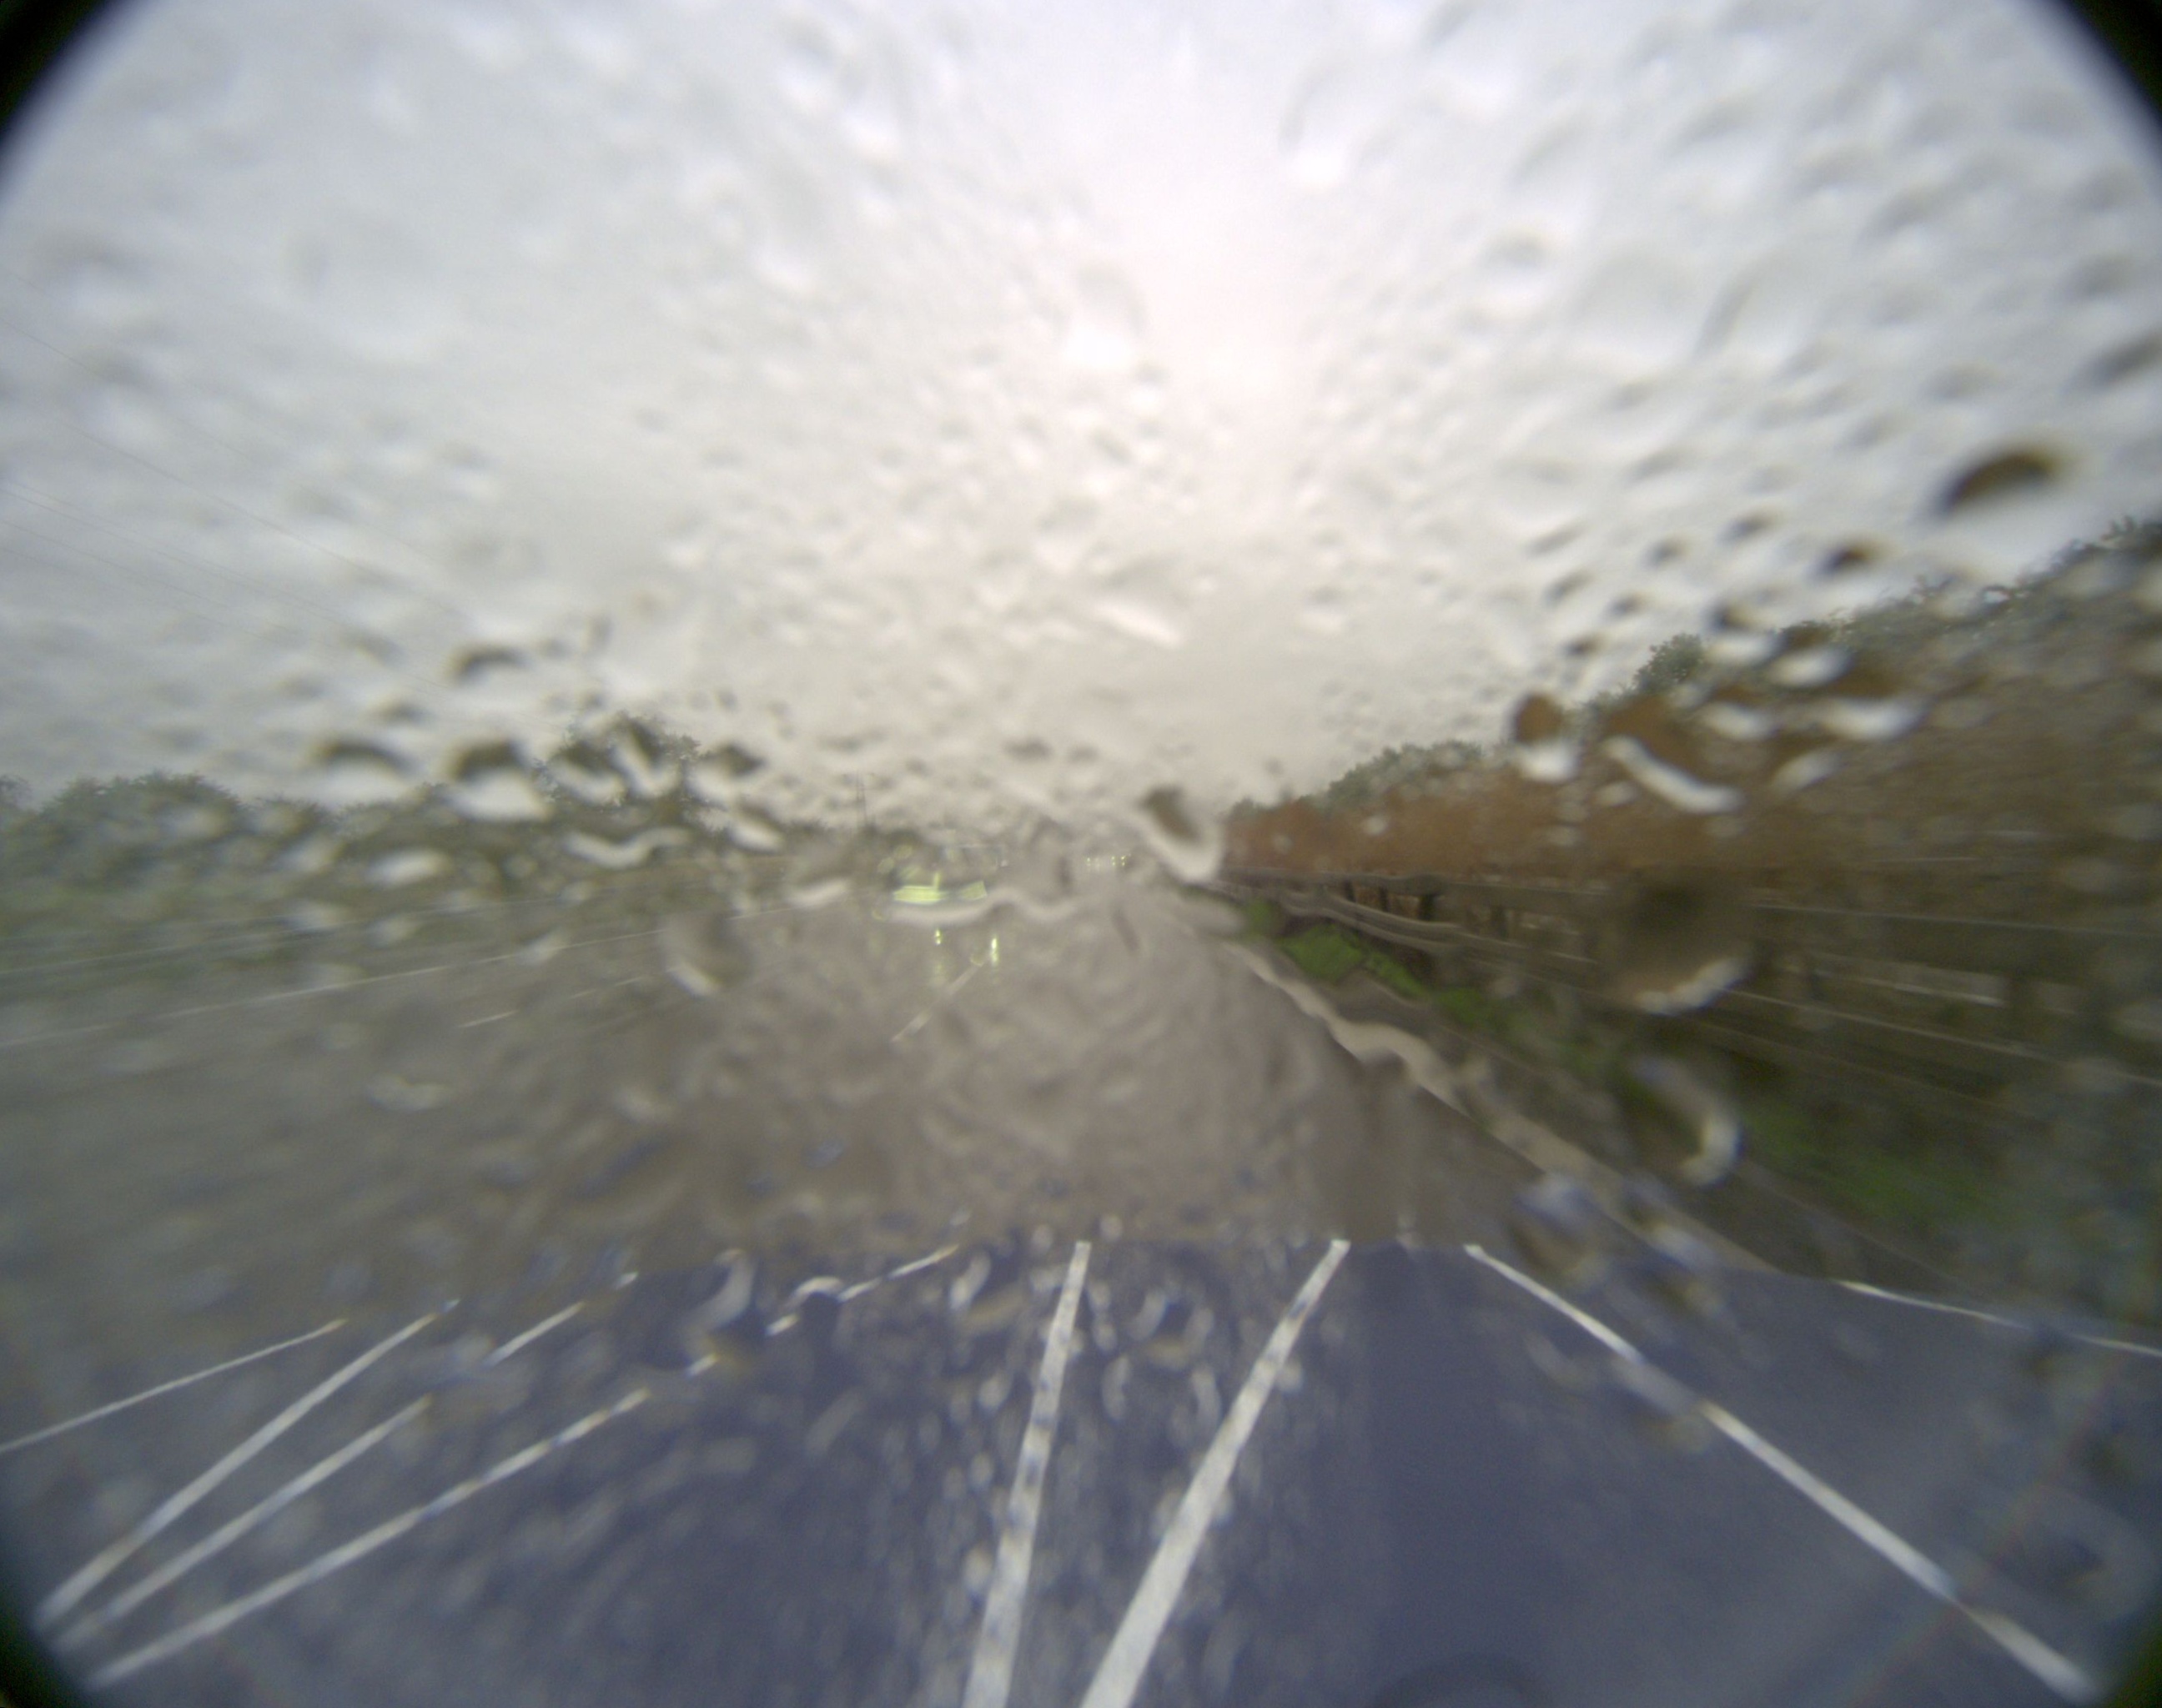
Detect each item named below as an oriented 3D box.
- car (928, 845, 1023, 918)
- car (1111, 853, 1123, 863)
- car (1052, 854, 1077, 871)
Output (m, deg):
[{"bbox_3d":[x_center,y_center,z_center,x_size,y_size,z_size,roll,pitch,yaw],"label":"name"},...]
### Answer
[{"bbox_3d":[-3.097,0.752,23.396,1.892,1.873,5.009,-4,0,2],"label":"car"},{"bbox_3d":[6.263,0.673,132.457,1.768,1.448,3.960,-4,0,5],"label":"car"},{"bbox_3d":[-1.493,0.764,70.325,1.768,1.448,3.960,-4,0,5],"label":"car"}]
